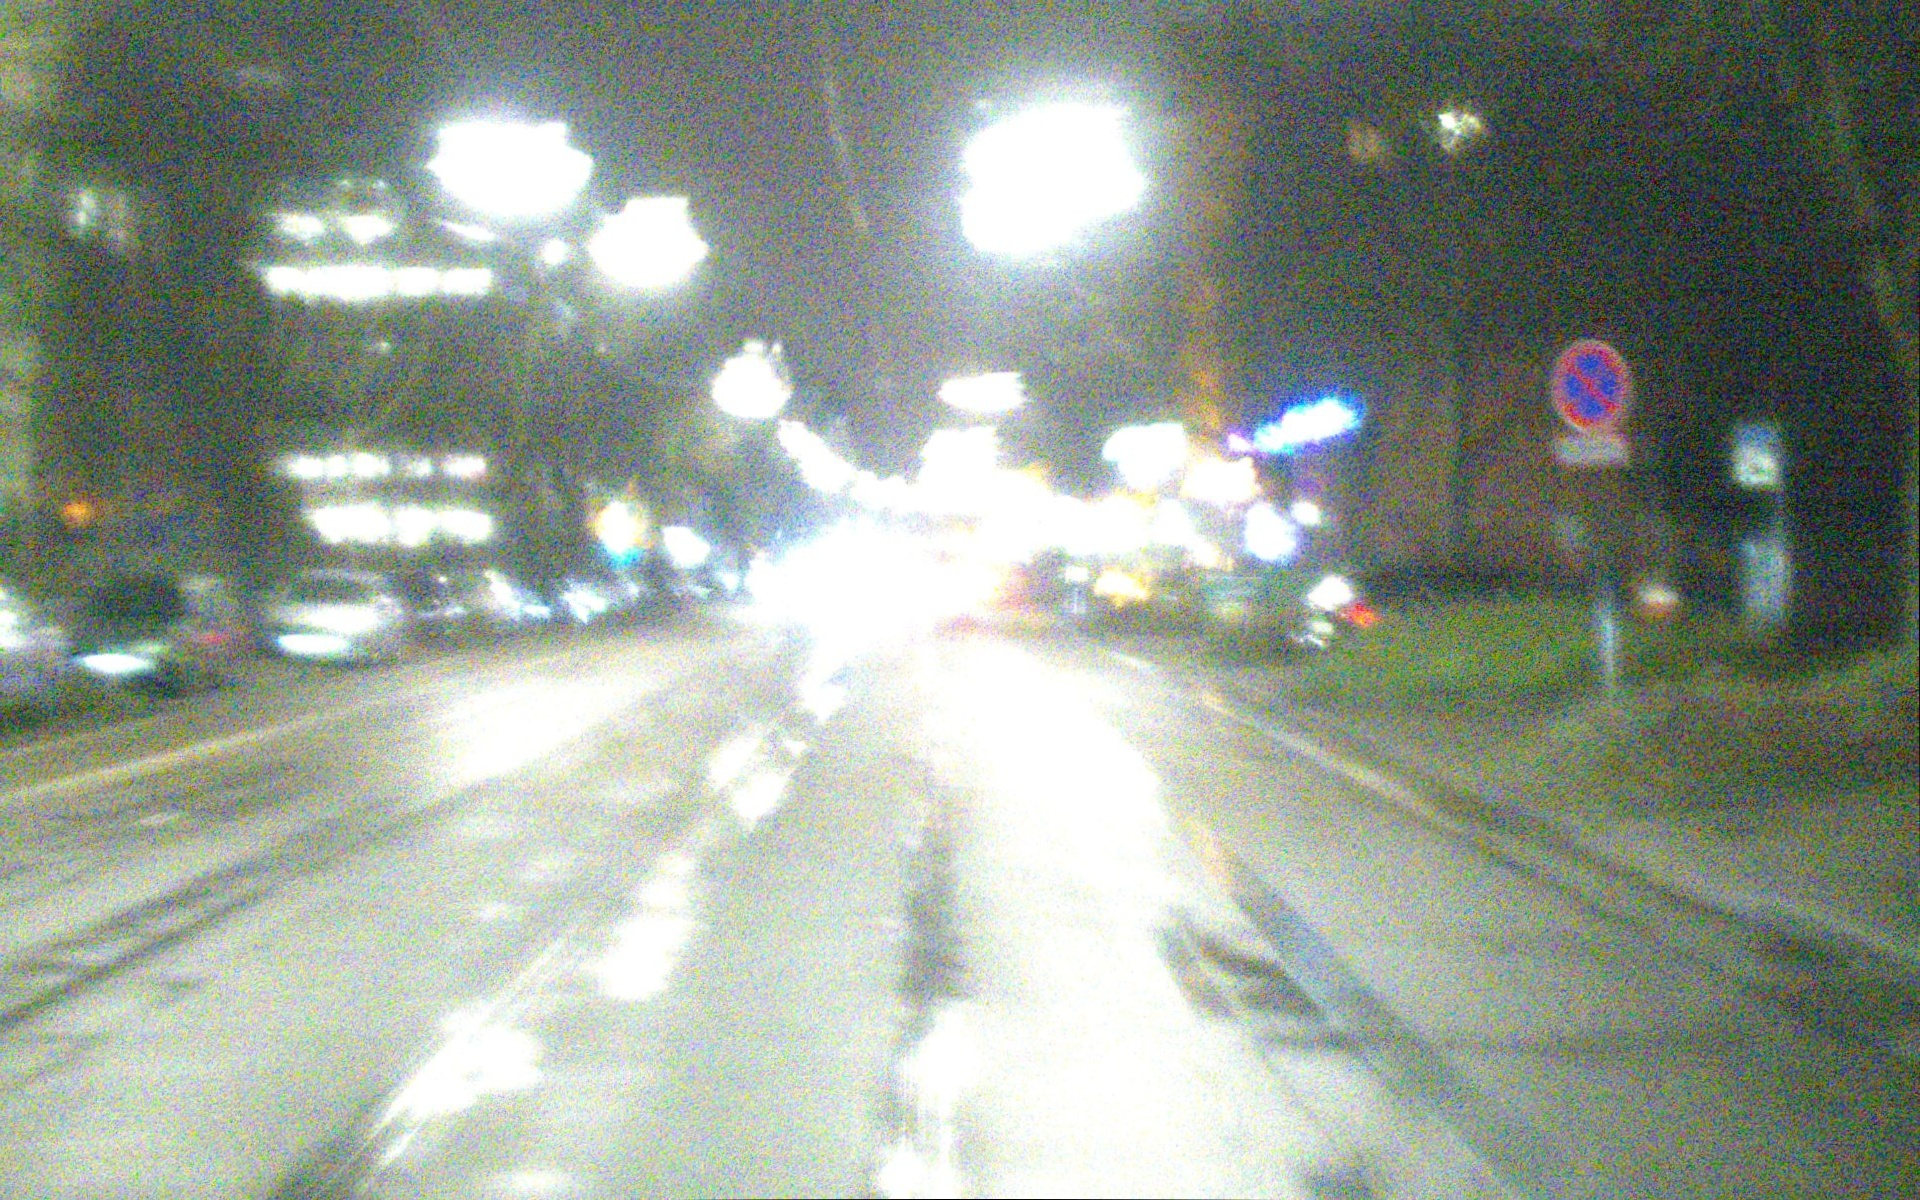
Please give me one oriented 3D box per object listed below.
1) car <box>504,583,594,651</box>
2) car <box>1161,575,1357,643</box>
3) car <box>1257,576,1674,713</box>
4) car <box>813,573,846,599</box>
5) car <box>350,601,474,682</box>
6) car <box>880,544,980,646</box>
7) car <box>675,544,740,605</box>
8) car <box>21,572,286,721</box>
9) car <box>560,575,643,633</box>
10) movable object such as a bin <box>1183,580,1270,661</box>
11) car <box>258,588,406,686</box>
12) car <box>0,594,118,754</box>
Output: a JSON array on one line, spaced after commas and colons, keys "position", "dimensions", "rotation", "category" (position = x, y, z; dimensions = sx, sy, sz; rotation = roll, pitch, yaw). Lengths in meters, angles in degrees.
[{"position": [-10.193, 0.415, 85.478], "dimensions": [1.880, 1.540, 4.400], "rotation": [3, 0, -3], "category": "car"}, {"position": [6.919, 0.204, 79.496], "dimensions": [4.092, 1.532, 1.961], "rotation": [0, 0, -26], "category": "car"}, {"position": [6.042, 0.505, 41.149], "dimensions": [4.584, 1.470, 1.840], "rotation": [-1, 0, -20], "category": "car"}, {"position": [-7.695, -0.835, 203.096], "dimensions": [1.776, 1.512, 4.051], "rotation": [0, 1, 0], "category": "car"}, {"position": [-10.000, 0.734, 63.020], "dimensions": [1.839, 1.418, 4.209], "rotation": [-1, 0, -4], "category": "car"}, {"position": [-0.742, -0.109, 81.612], "dimensions": [2.244, 2.353, 4.394], "rotation": [0, 0, -2], "category": "car"}, {"position": [-10.910, -1.137, 148.978], "dimensions": [2.185, 2.583, 6.391], "rotation": [0, 1, 2], "category": "car"}, {"position": [-9.696, 0.538, 41.724], "dimensions": [2.143, 1.614, 4.589], "rotation": [3, 0, -1], "category": "car"}, {"position": [-10.328, 0.114, 99.419], "dimensions": [1.983, 1.625, 4.517], "rotation": [0, 0, -1], "category": "car"}, {"position": [4.756, 0.371, 61.426], "dimensions": [1.321, 1.403, 1.160], "rotation": [-2, 0, -6], "category": "movable object such as a bin"}, {"position": [-9.730, 0.547, 53.530], "dimensions": [1.773, 1.435, 4.608], "rotation": [-1, 0, -4], "category": "car"}, {"position": [-9.453, 0.655, 32.791], "dimensions": [1.731, 1.433, 4.626], "rotation": [0, 0, 0], "category": "car"}]
